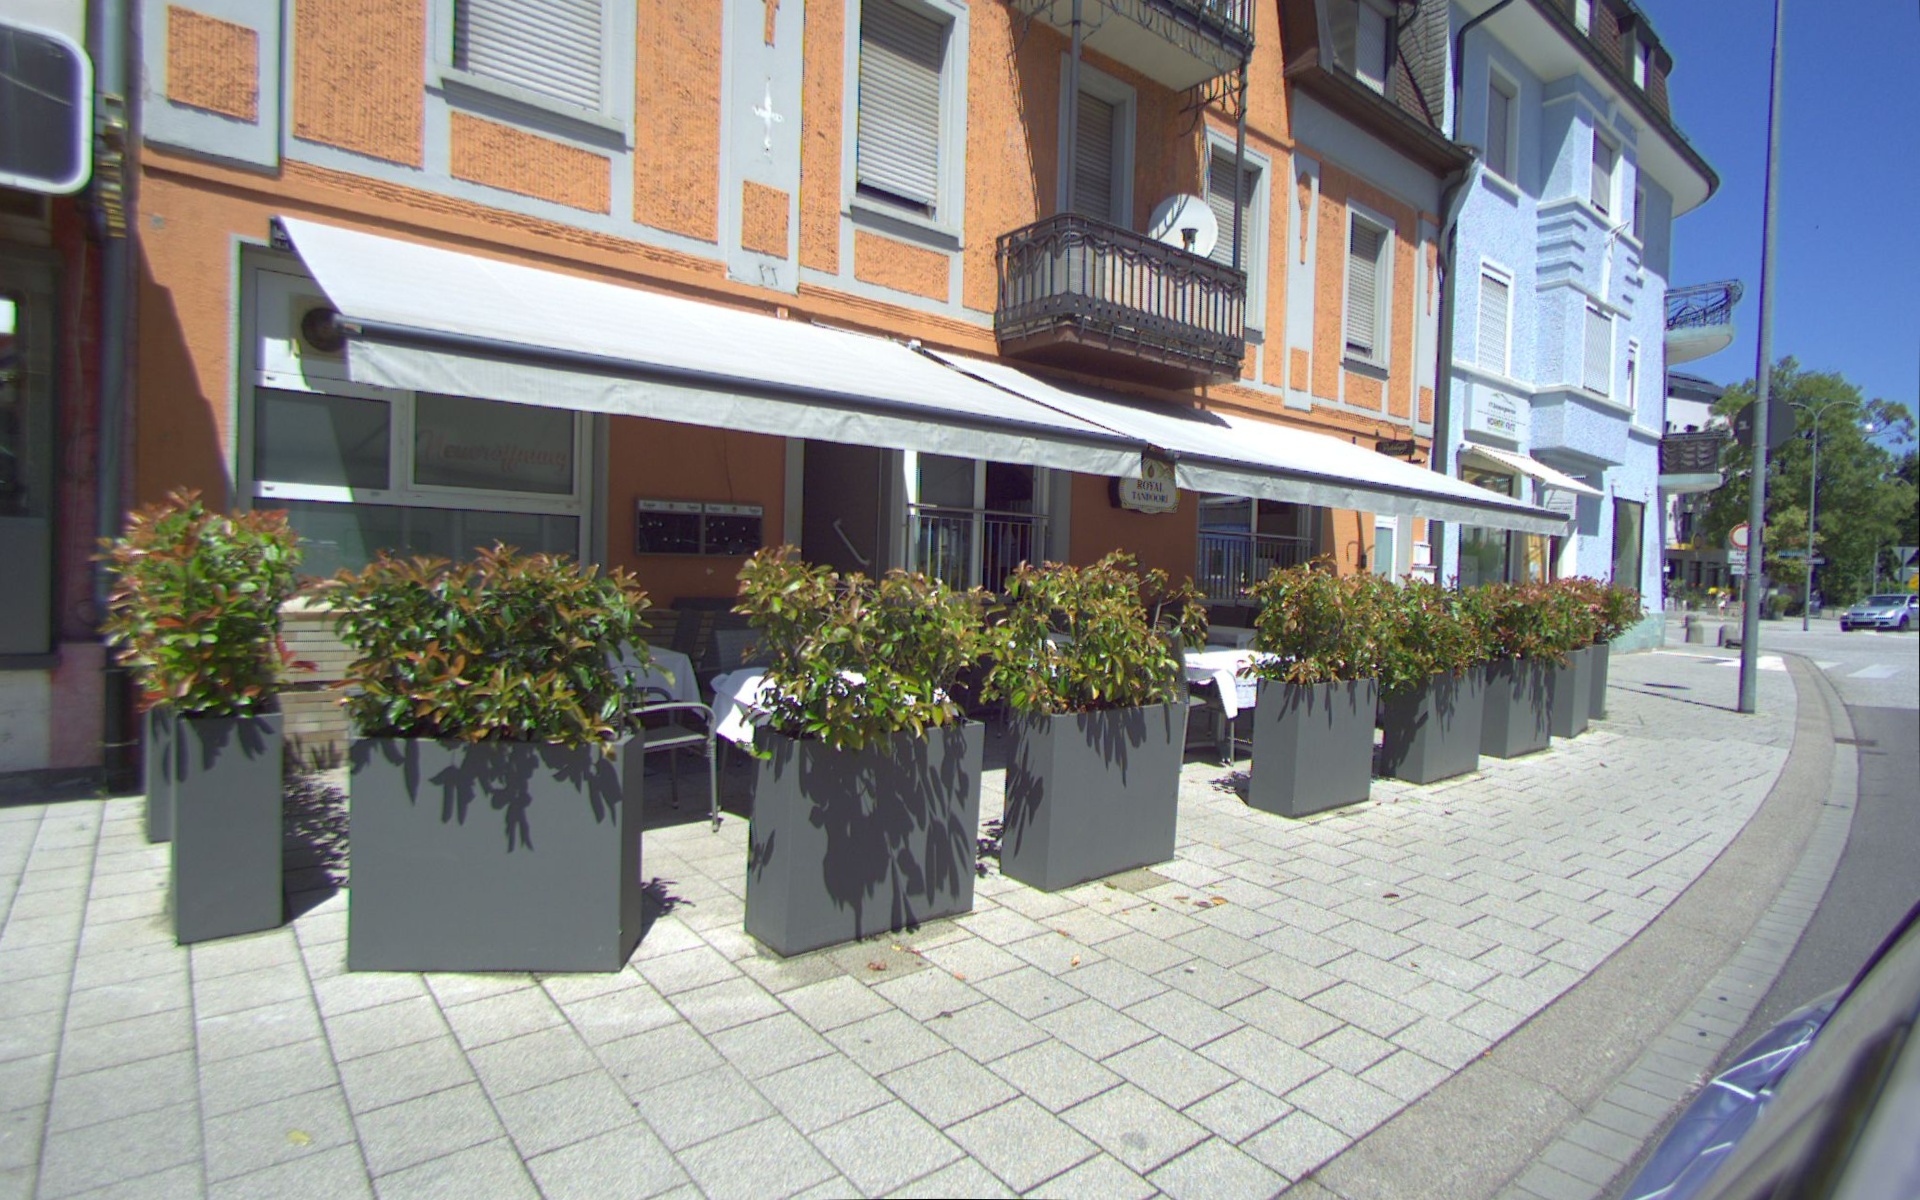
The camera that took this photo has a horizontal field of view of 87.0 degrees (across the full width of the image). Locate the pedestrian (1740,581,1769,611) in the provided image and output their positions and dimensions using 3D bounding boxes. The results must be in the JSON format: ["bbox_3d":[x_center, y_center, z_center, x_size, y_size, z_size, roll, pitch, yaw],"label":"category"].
[{"bbox_3d":[45.206,-0.207,57.590,0.931,1.669,0.820,1,1,-12],"label":"pedestrian"}]

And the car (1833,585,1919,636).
[{"bbox_3d":[33.077,0.335,35.622,4.116,1.676,2.004,0,1,-25],"label":"car"}]
